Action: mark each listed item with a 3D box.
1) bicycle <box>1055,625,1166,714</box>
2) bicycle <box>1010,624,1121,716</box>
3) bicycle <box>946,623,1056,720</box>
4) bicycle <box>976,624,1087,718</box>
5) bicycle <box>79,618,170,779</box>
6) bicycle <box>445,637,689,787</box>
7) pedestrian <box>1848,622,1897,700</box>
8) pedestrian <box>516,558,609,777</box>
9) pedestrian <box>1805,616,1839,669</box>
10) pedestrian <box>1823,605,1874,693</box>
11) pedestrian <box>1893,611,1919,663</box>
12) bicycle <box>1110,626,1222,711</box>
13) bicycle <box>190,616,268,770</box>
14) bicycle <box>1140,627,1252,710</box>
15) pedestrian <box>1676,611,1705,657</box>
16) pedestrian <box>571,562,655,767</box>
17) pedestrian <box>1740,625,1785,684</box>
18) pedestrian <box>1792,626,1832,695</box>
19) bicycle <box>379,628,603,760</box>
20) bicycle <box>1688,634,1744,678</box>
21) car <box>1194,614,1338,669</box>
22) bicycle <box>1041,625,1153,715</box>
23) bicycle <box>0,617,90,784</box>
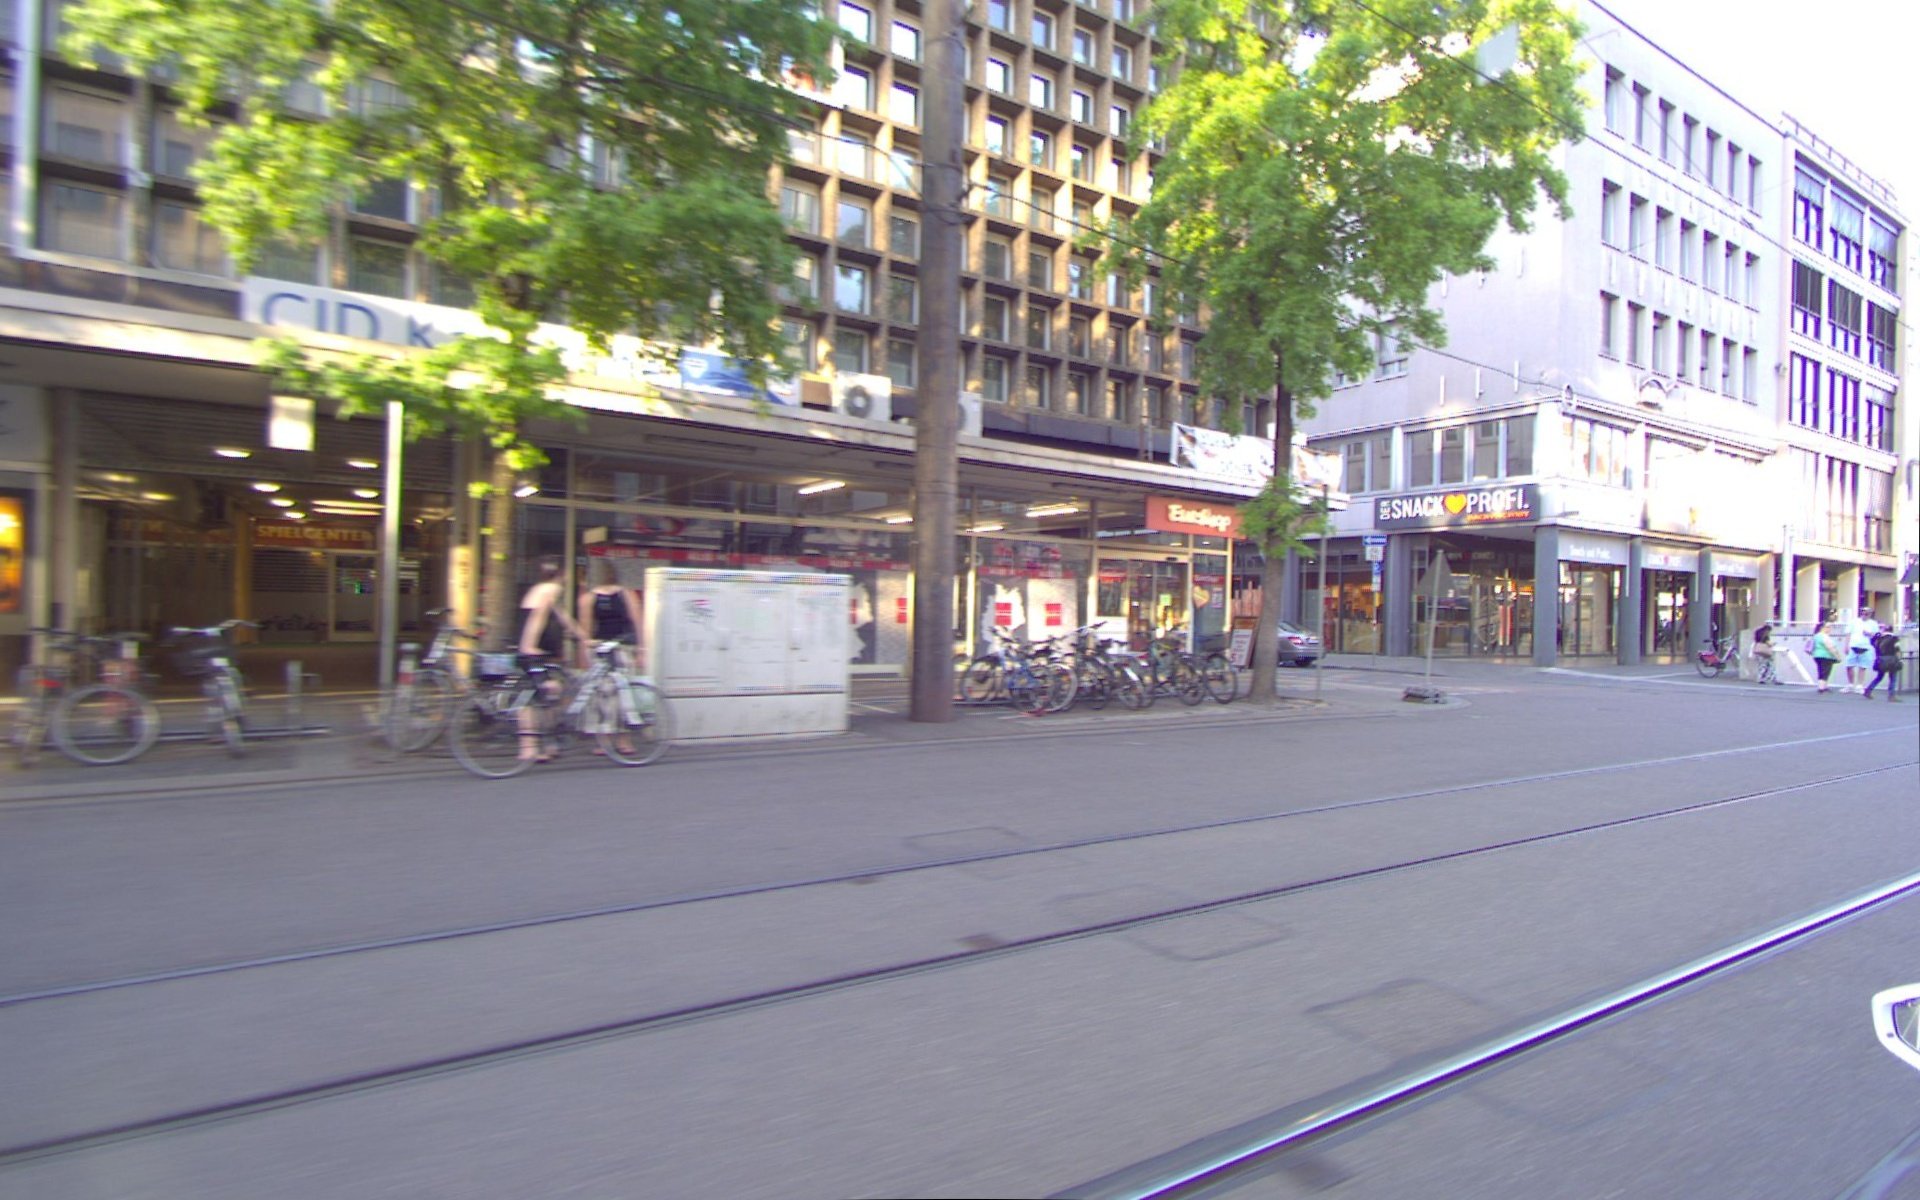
[{"bbox_3d":[2.043,0.922,13.868,0.484,1.059,1.762,1,1,-32],"label":"bicycle"},{"bbox_3d":[1.372,0.900,13.408,0.484,1.059,1.762,1,1,-32],"label":"bicycle"},{"bbox_3d":[0.487,0.872,12.841,0.484,1.059,1.762,1,1,-32],"label":"bicycle"},{"bbox_3d":[0.897,0.885,13.102,0.484,1.059,1.762,1,1,-32],"label":"bicycle"},{"bbox_3d":[-6.737,0.732,8.143,0.485,1.085,1.758,0,2,-37],"label":"bicycle"},{"bbox_3d":[-3.113,0.847,8.054,1.760,1.059,0.484,1,1,-36],"label":"bicycle"},{"bbox_3d":[18.867,1.244,20.770,0.600,1.562,0.678,2,-1,-40],"label":"pedestrian"},{"bbox_3d":[-3.243,0.535,8.223,0.525,1.722,0.603,1,1,-3],"label":"pedestrian"},{"bbox_3d":[29.061,1.416,33.875,0.702,1.748,0.709,2,-1,-34],"label":"pedestrian"},{"bbox_3d":[20.102,1.095,22.722,0.704,1.951,0.766,2,-1,-40],"label":"pedestrian"},{"bbox_3d":[32.340,1.245,34.187,0.615,1.748,0.605,1,-1,14],"label":"pedestrian"},{"bbox_3d":[2.923,0.950,14.439,0.484,1.059,1.762,1,1,-32],"label":"bicycle"},{"bbox_3d":[-6.190,0.720,8.486,0.485,1.085,1.758,0,2,-37],"label":"bicycle"},{"bbox_3d":[3.423,0.966,14.721,0.484,1.059,1.762,1,1,-32],"label":"bicycle"},{"bbox_3d":[28.509,1.318,39.180,0.702,1.748,0.709,2,-1,-34],"label":"pedestrian"},{"bbox_3d":[-3.023,0.545,8.784,0.525,1.722,0.603,1,1,-3],"label":"pedestrian"},{"bbox_3d":[20.031,1.348,25.070,0.671,1.453,0.556,1,-1,6],"label":"pedestrian"},{"bbox_3d":[19.010,1.340,22.408,0.551,1.513,0.598,2,-1,-40],"label":"pedestrian"},{"bbox_3d":[-4.159,0.795,8.986,1.760,1.059,0.484,1,1,-36],"label":"bicycle"},{"bbox_3d":[20.388,1.493,27.073,1.777,1.122,0.496,0,0,-28],"label":"bicycle"},{"bbox_3d":[9.464,1.260,31.338,1.782,1.530,4.093,2,-1,-34],"label":"car"},{"bbox_3d":[1.840,0.915,13.740,0.484,1.059,1.762,1,1,-32],"label":"bicycle"},{"bbox_3d":[-7.160,0.718,7.803,0.485,1.085,1.758,0,2,-37],"label":"bicycle"}]
